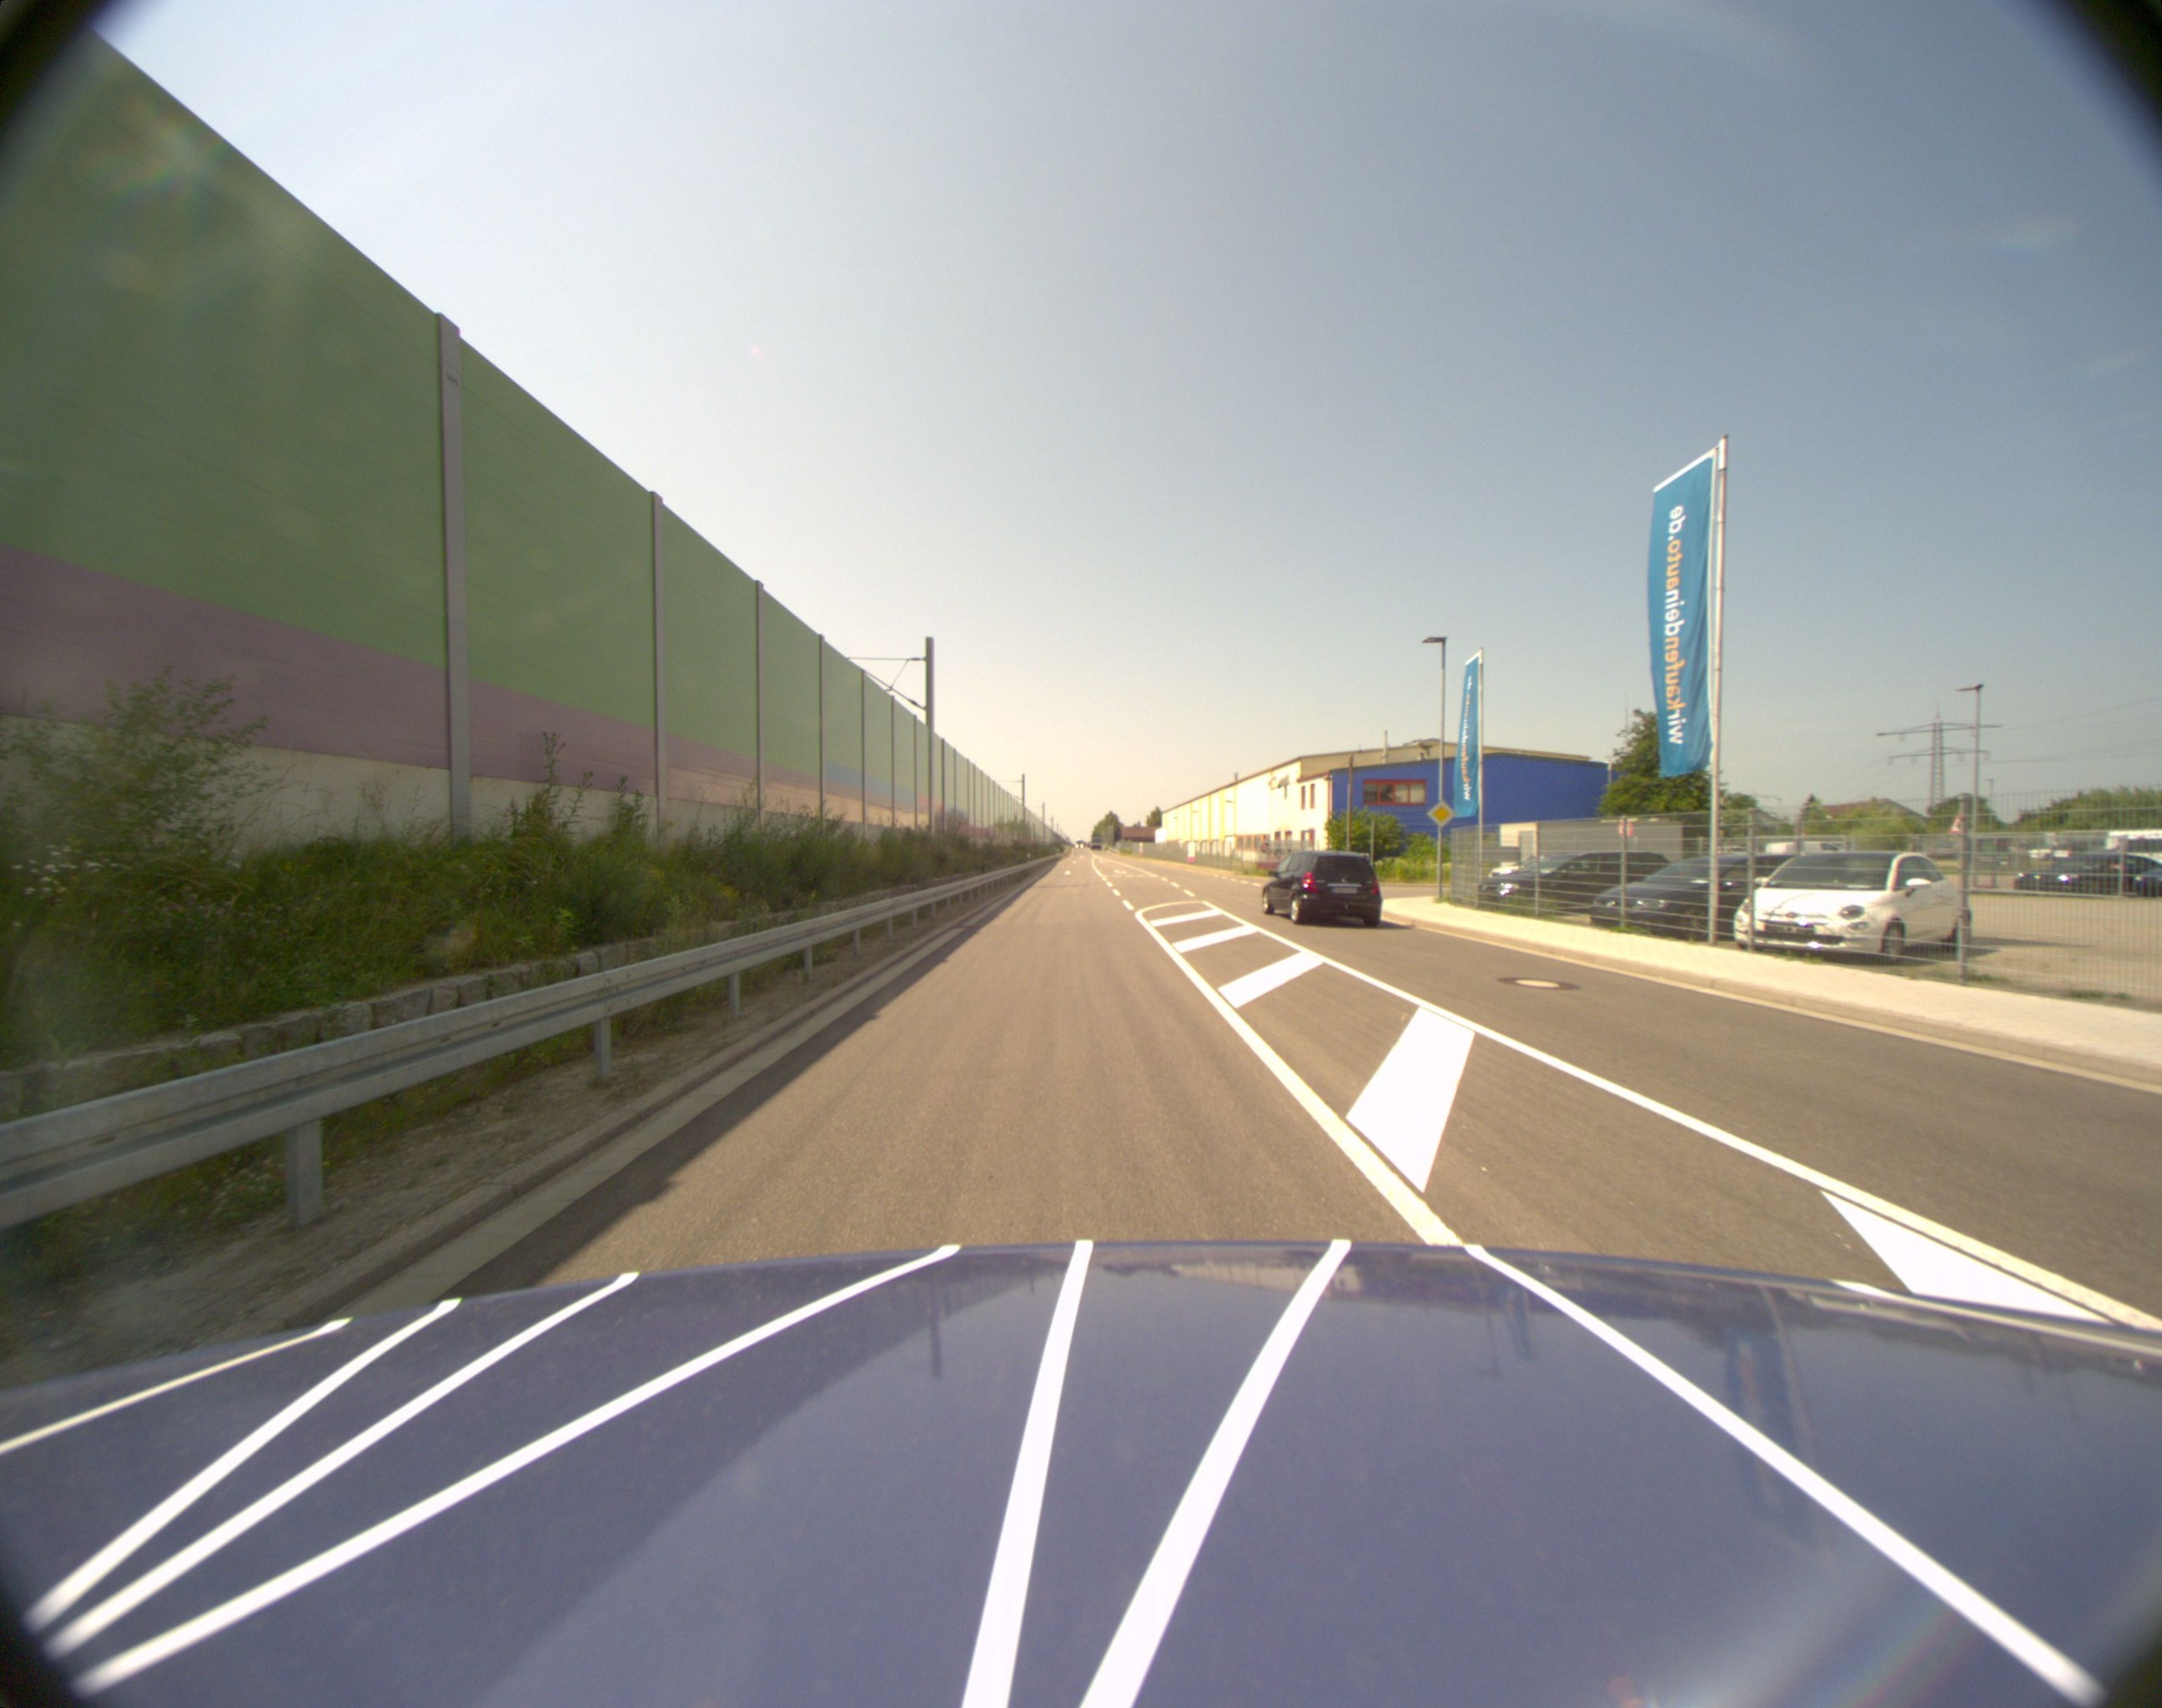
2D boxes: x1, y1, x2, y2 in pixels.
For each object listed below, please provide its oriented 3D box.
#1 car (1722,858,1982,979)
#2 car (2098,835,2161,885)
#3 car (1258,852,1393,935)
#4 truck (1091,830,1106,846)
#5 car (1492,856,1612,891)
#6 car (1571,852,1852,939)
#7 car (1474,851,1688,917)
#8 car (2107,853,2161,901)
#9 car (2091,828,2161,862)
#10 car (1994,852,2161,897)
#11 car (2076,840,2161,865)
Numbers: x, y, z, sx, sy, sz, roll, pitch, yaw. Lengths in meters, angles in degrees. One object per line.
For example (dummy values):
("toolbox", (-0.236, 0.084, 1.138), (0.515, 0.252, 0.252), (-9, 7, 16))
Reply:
("car", (11.190, 0.821, 11.026), (3.491, 1.456, 1.587), (-1, 1, -25))
("car", (47.520, 0.241, 32.710), (4.810, 2.049, 2.008), (0, 2, -1))
("car", (5.324, 0.780, 17.060), (1.746, 1.584, 3.795), (2, 0, 0))
("truck", (4.343, -3.865, 187.767), (3.563, 3.855, 11.415), (0, 0, 1))
("car", (20.604, 0.850, 33.363), (4.158, 1.493, 1.775), (0, 0, 3))
("car", (11.628, 0.724, 14.160), (4.000, 1.494, 1.774), (0, 0, -7))
("car", (11.855, 0.690, 18.166), (3.998, 1.494, 1.774), (0, 0, -4))
("car", (35.137, 0.726, 23.862), (3.810, 1.493, 1.774), (0, 0, -6))
("car", (64.292, -0.520, 45.190), (2.002, 2.002, 4.645), (0, 0, -18))
("car", (34.367, 0.702, 26.169), (3.999, 1.493, 1.774), (0, 0, -6))
("car", (61.673, -0.063, 43.970), (2.001, 1.419, 4.571), (0, 0, -14))
